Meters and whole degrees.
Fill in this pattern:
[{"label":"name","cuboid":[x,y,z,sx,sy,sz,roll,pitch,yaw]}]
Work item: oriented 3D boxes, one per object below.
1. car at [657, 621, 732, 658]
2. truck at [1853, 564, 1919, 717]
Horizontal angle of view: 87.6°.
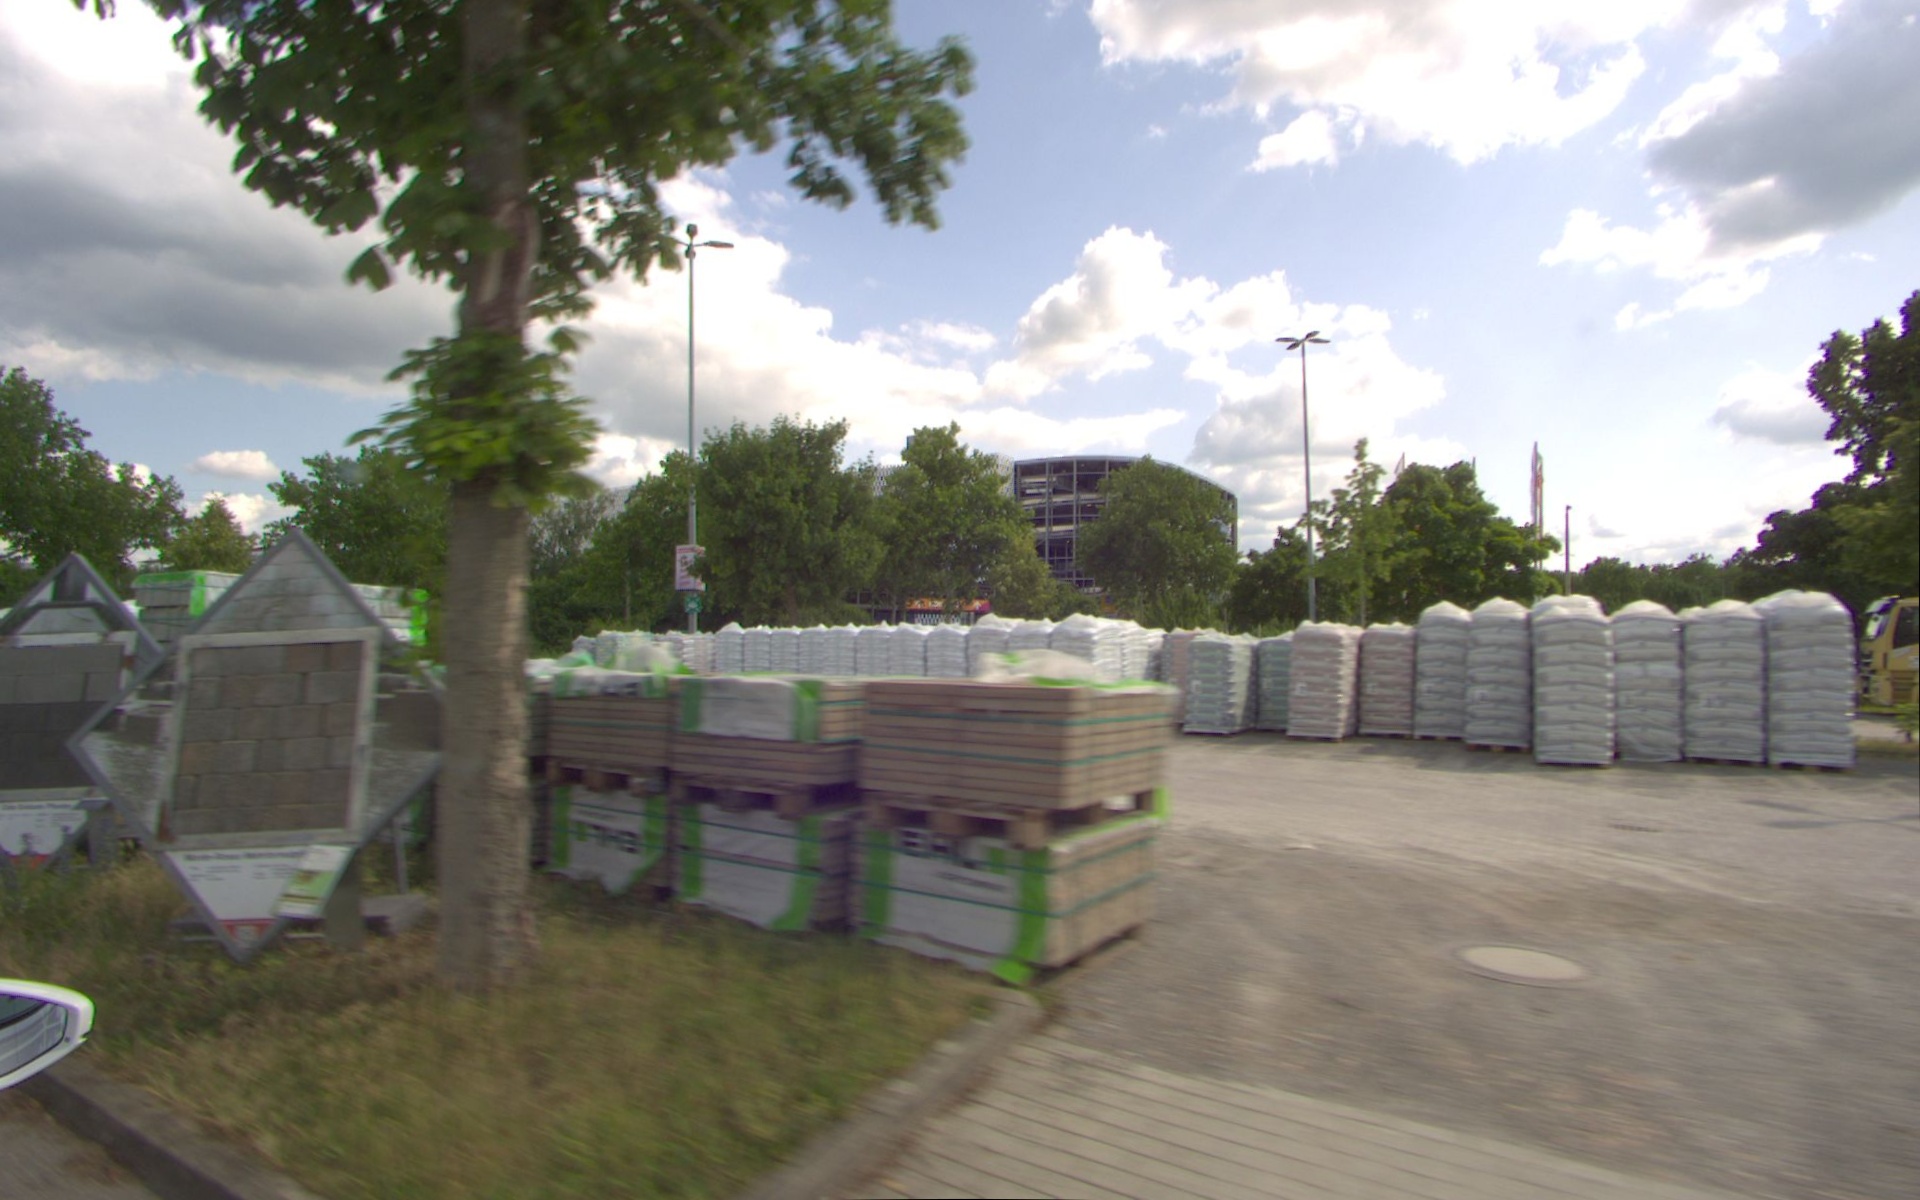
[{"label":"car","cuboid":[-14.912,2.218,56.109,3.931,2.039,1.996,1,-2,-19]},{"label":"truck","cuboid":[26.639,0.978,22.935,8.912,3.645,2.715,-1,-1,34]}]
